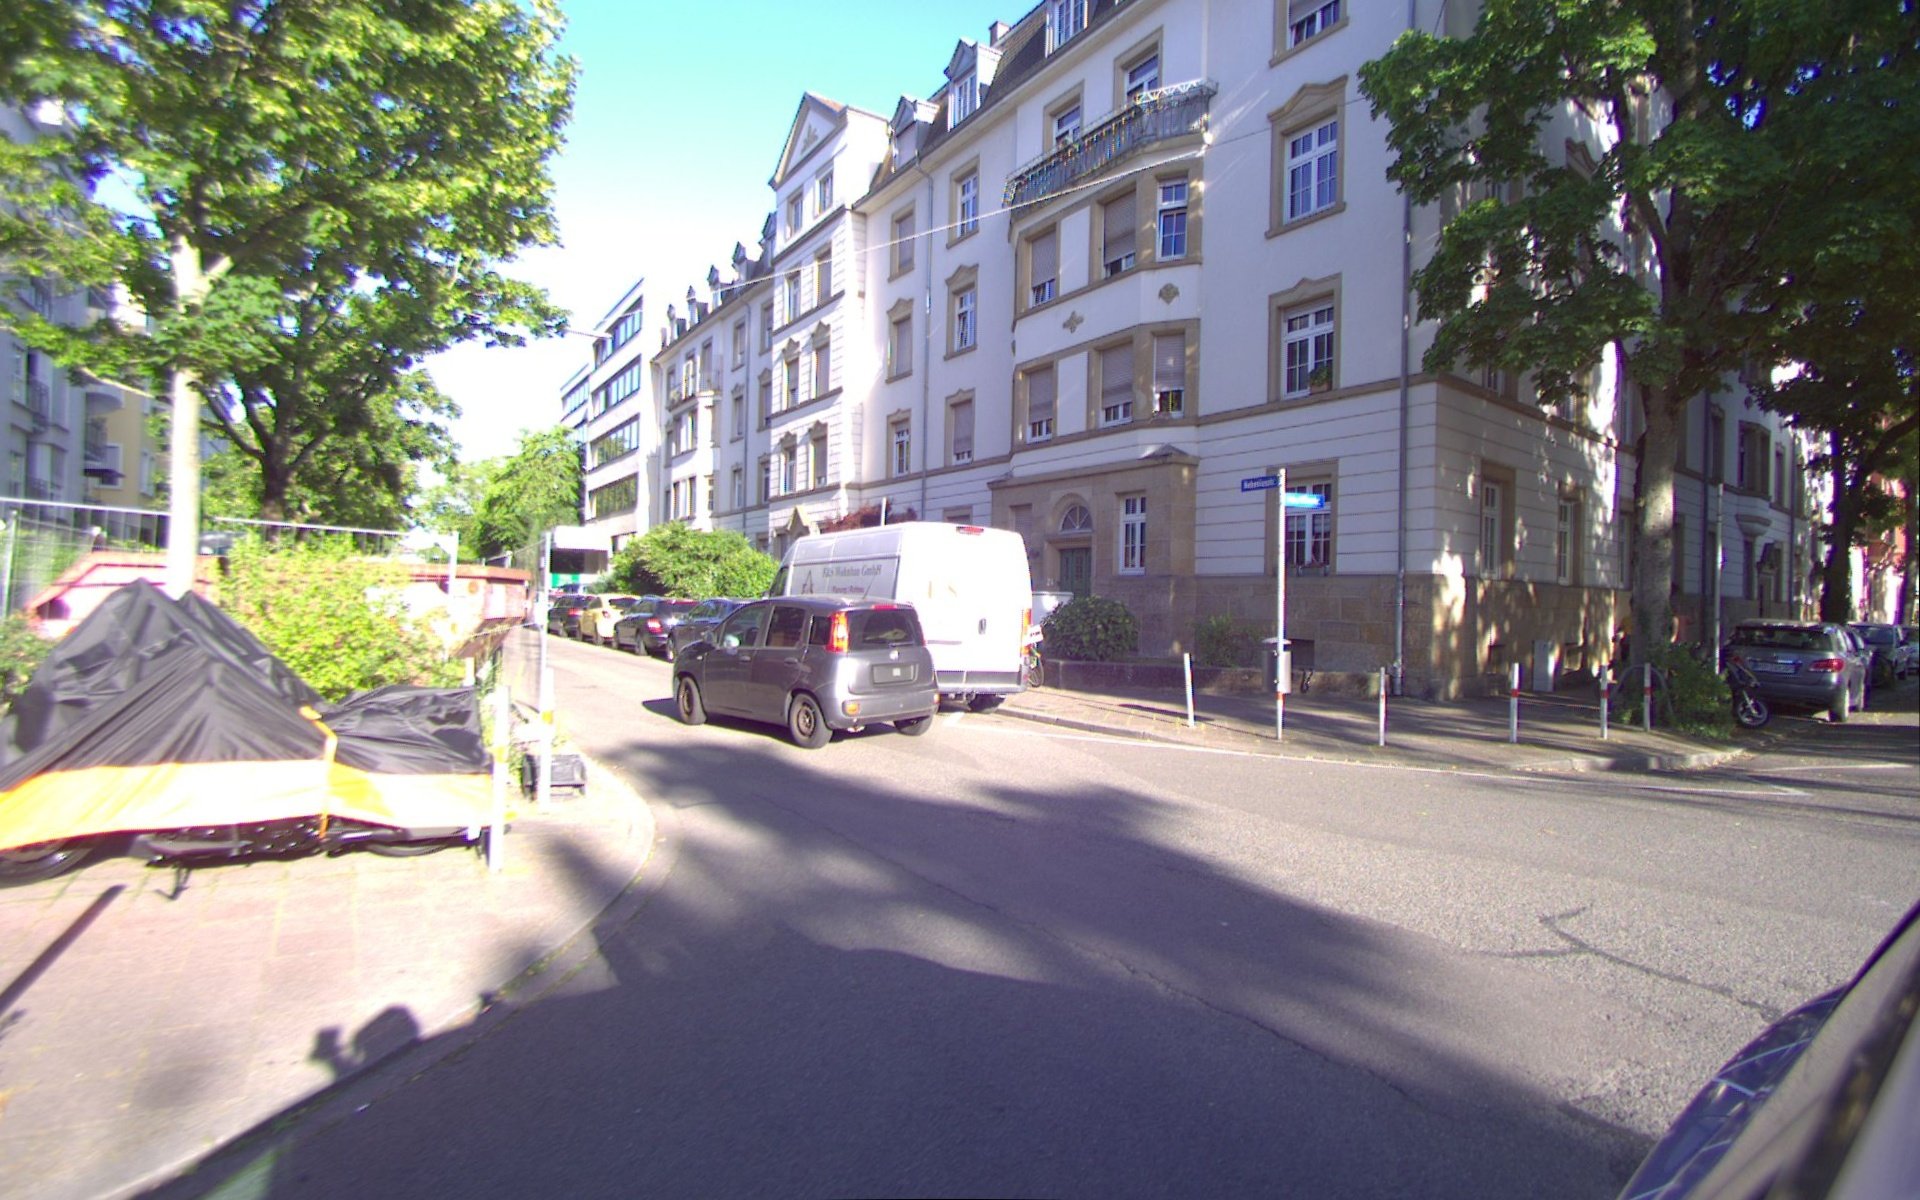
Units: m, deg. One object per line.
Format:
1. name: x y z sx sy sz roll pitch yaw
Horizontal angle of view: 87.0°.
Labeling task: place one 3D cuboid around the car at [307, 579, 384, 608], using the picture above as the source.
1. car: -38.183 -0.394 62.915 3.925 1.683 1.727 1 0 -36

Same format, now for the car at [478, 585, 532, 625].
1. car: -21.409 0.222 47.522 1.768 1.789 4.149 1 0 -32

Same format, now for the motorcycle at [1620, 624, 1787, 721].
1. motorcycle: 10.973 1.043 14.984 0.667 1.228 1.852 3 0 -43

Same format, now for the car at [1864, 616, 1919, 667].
1. car: 28.759 1.228 30.601 3.930 1.460 1.649 1 -1 -41

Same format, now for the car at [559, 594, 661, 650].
1. car: -10.395 0.589 29.867 1.755 1.527 4.219 1 0 -35

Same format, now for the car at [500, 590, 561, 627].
1. car: -18.455 0.342 43.351 1.754 1.527 4.222 1 0 -32

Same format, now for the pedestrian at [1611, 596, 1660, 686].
1. pedestrian: 13.131 0.774 19.666 0.804 1.706 0.624 2 -1 -42

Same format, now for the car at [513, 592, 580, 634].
1. car: -16.150 0.485 39.430 1.754 1.527 4.222 1 0 -31

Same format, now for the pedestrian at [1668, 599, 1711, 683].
1. pedestrian: 16.608 0.920 23.042 0.704 1.868 0.827 0 -1 43

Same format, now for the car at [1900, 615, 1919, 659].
1. car: 35.410 1.333 36.498 3.930 1.549 1.822 1 -1 -41

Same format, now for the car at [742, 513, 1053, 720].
1. car: -1.215 0.187 15.188 2.260 2.499 5.669 1 0 -31

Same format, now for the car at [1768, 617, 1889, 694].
1. car: 18.388 1.095 21.371 1.723 1.425 3.794 1 0 44

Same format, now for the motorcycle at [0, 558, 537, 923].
1. motorcycle: -3.606 0.616 5.095 2.571 1.544 0.875 2 -1 -33

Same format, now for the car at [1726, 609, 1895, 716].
1. car: 14.583 0.978 17.278 4.063 1.559 1.683 1 0 -42

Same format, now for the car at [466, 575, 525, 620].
1. car: -24.283 -0.131 52.798 2.097 2.223 5.342 1 0 -32

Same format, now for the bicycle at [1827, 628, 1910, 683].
1. bicycle: 21.072 1.275 23.497 0.330 1.210 1.412 2 -1 -43

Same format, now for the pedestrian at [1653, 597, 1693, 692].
1. pedestrian: 13.351 0.814 18.955 0.508 1.740 0.519 2 -1 -43

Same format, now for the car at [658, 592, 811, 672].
1. car: -4.743 0.604 20.929 1.694 1.483 3.884 1 -1 -36

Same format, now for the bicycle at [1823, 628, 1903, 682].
1. bicycle: 21.701 1.307 24.338 0.330 1.210 1.412 2 -1 -43

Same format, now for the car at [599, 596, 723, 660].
1. car: -7.558 0.645 25.319 1.755 1.441 4.219 1 0 -35

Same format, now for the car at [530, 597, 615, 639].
1. car: -13.261 0.585 34.485 1.755 1.316 4.219 1 0 -35

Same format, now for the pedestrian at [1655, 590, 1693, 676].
1. pedestrian: 15.873 0.726 22.503 0.694 1.868 0.528 2 -1 -40

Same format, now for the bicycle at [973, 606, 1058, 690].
1. bicycle: 0.910 0.774 17.042 0.625 1.307 1.874 1 0 -24

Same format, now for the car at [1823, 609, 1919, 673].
1. car: 24.421 1.052 26.949 3.930 1.552 1.638 1 -1 -41

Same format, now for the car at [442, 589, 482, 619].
1. car: -30.954 0.209 62.855 1.768 1.789 4.149 1 0 -32

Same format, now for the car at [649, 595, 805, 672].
1. car: -4.991 0.632 21.333 1.756 1.457 3.999 1 0 -36

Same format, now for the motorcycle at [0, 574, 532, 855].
1. motorcycle: -4.029 0.590 6.161 2.493 1.422 0.872 1 0 -33

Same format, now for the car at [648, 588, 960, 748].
1. car: -1.840 0.645 11.342 3.519 1.502 1.614 0 -1 42

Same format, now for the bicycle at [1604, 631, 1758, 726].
1. bicycle: 10.268 1.086 14.494 0.424 1.176 1.802 2 1 -25
